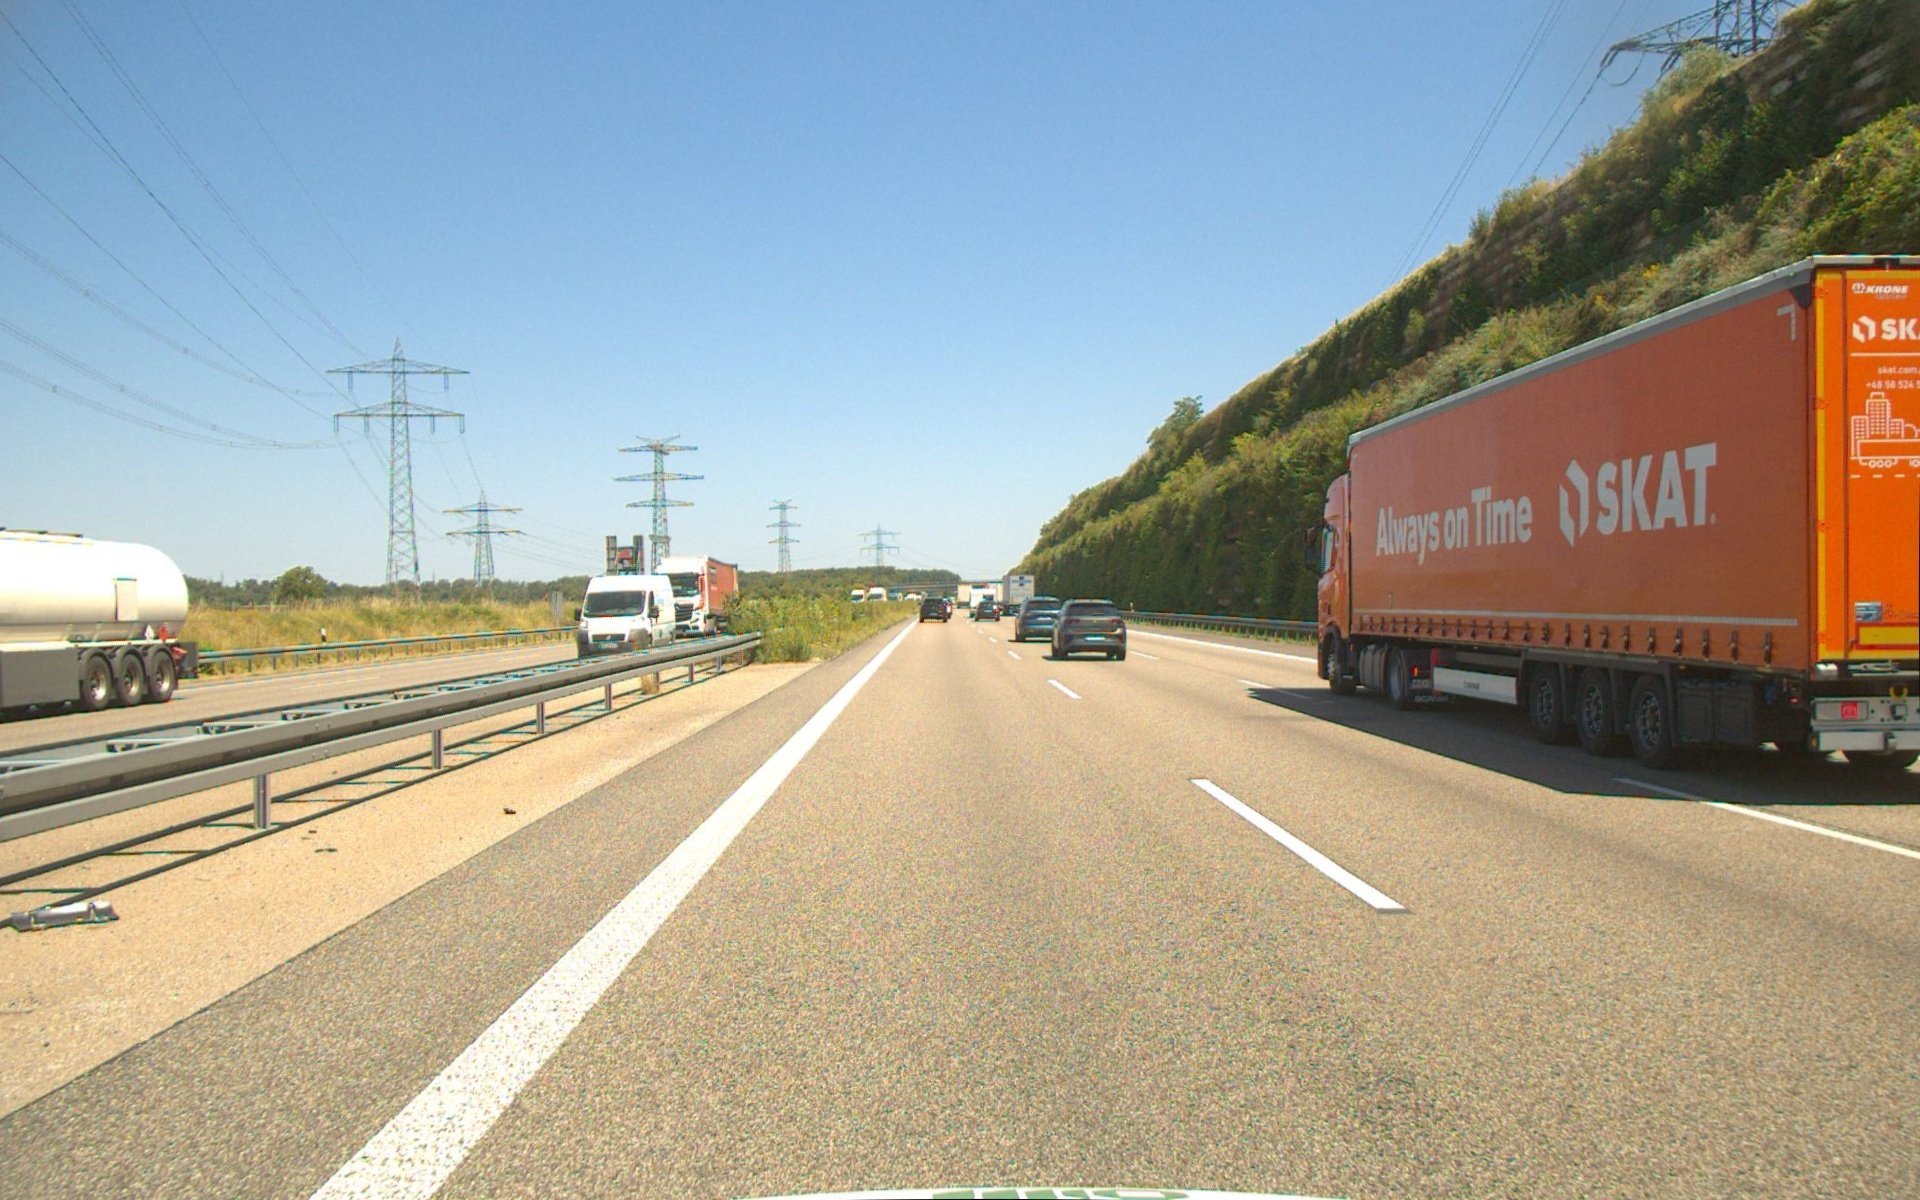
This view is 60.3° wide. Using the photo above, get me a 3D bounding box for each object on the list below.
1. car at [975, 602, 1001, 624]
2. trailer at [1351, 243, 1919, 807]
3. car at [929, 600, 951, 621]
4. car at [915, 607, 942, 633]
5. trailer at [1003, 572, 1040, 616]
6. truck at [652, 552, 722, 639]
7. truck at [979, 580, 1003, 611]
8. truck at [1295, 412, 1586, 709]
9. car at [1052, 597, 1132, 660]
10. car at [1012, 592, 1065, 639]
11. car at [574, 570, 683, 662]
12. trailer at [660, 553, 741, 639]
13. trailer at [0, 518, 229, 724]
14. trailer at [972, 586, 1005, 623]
[{"bbox_3d":[2.084,0.951,123.699,1.792,1.552,4.000,-1,0,0],"label":"car"},{"bbox_3d":[7.439,-0.556,18.784,2.591,4.075,13.603,0,0,-1],"label":"trailer"},{"bbox_3d":[-1.707,0.849,138.650,1.793,1.700,3.999,-1,0,-1],"label":"car"},{"bbox_3d":[-2.199,1.404,115.977,1.793,1.700,3.999,-1,0,-1],"label":"car"},{"bbox_3d":[6.153,-0.574,167.565,3.118,4.193,13.429,-1,0,0],"label":"trailer"},{"bbox_3d":[-14.042,-0.236,85.455,2.547,4.285,5.908,-2,0,-1],"label":"truck"},{"bbox_3d":[4.360,-0.617,237.694,3.055,4.355,11.932,-1,0,0],"label":"truck"},{"bbox_3d":[7.267,-0.552,25.998,2.564,4.062,6.525,0,0,-1],"label":"truck"},{"bbox_3d":[3.442,0.723,43.883,1.714,1.552,3.994,-1,0,-1],"label":"car"},{"bbox_3d":[2.921,0.564,62.418,1.757,1.682,4.137,0,0,-1],"label":"car"},{"bbox_3d":[-9.696,0.447,48.853,1.953,2.479,6.029,-2,0,0],"label":"car"},{"bbox_3d":[-14.229,-0.225,91.964,2.539,4.312,14.324,-2,0,-2],"label":"trailer"},{"bbox_3d":[-17.103,0.375,30.137,2.367,3.431,11.562,-2,0,0],"label":"trailer"},{"bbox_3d":[2.560,0.406,150.313,2.558,3.269,9.950,-1,0,-1],"label":"trailer"}]
